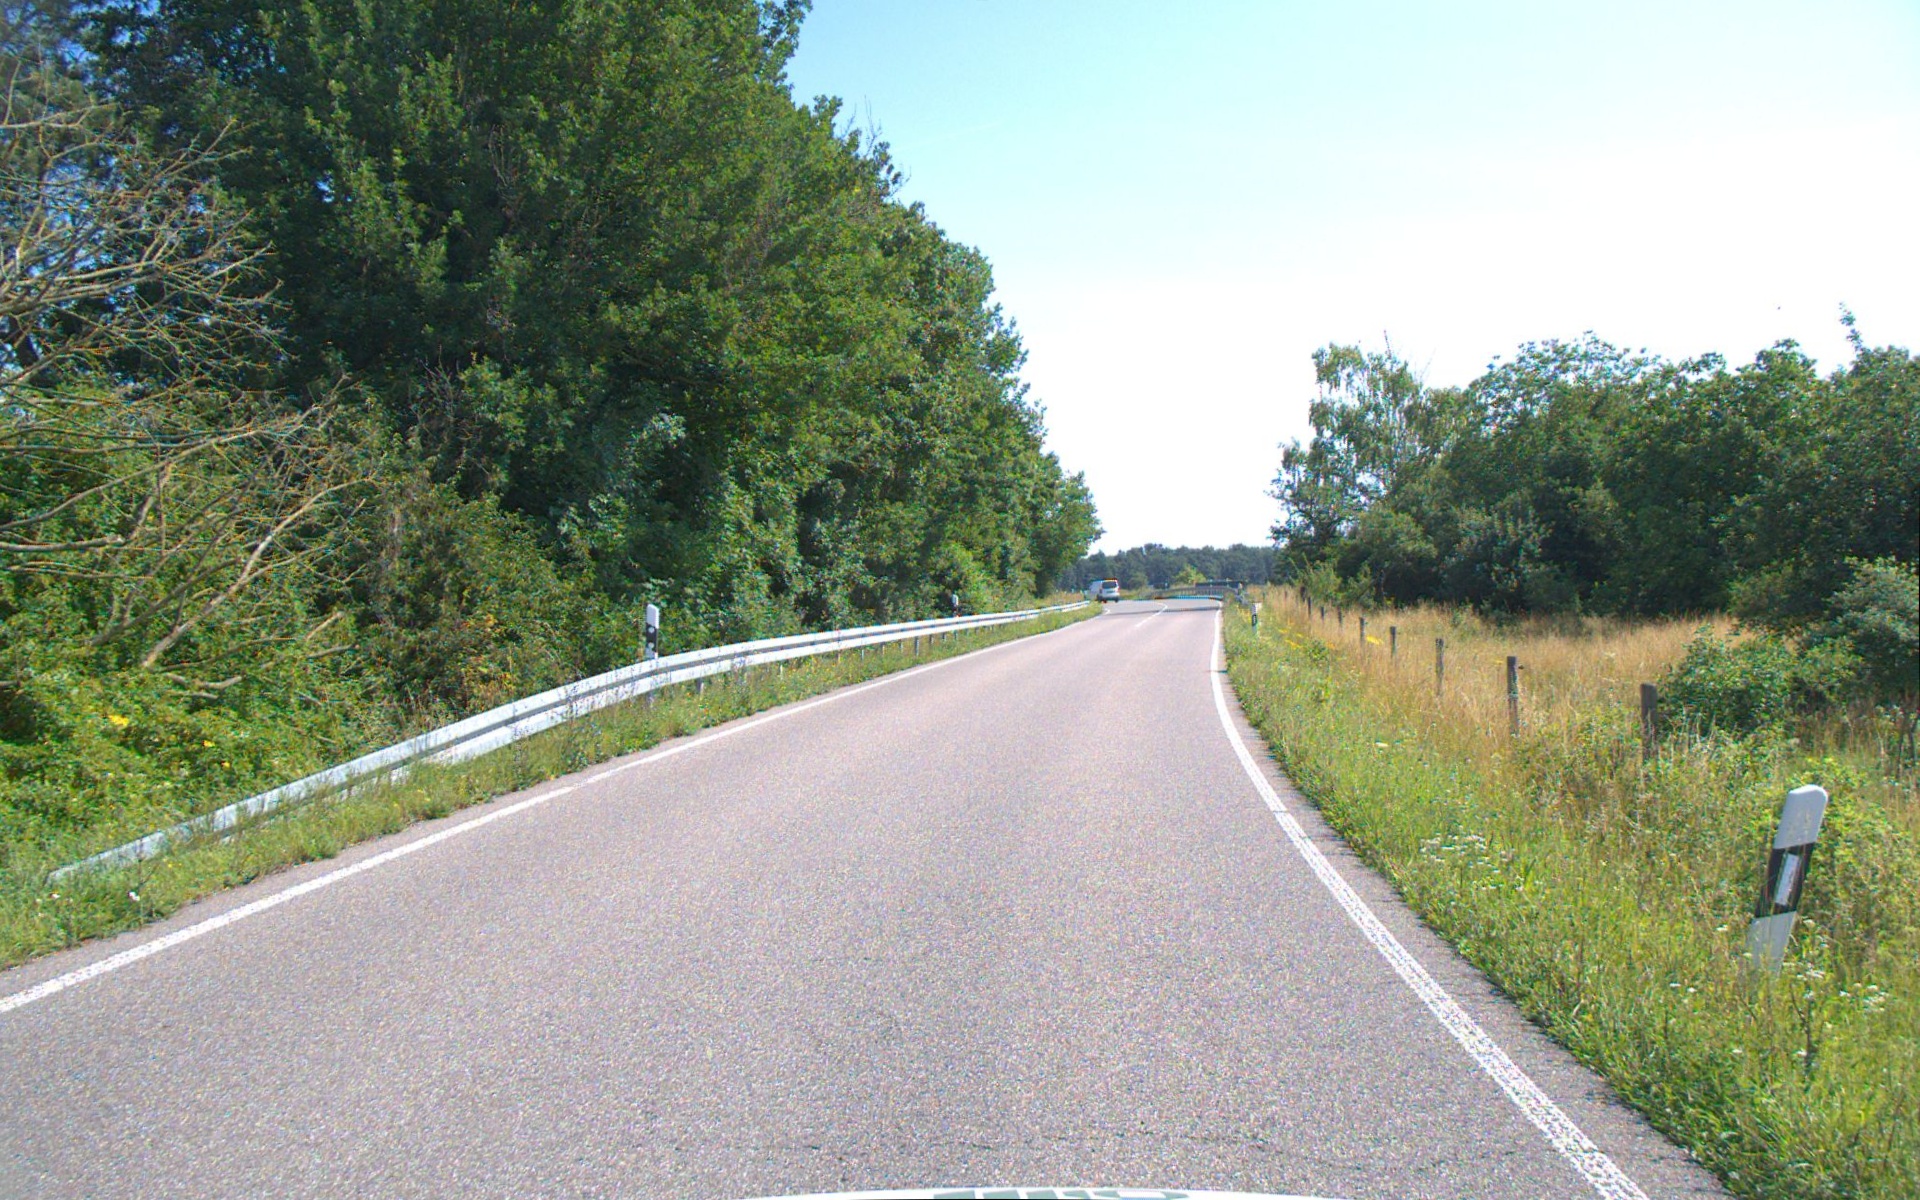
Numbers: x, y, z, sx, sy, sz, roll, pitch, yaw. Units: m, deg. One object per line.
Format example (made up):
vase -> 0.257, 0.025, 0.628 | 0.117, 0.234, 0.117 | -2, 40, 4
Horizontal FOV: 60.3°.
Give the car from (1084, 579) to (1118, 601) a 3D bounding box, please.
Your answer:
car -> 12.366, -0.902, 145.435 | 1.928, 1.834, 4.148 | 1, -1, -12
